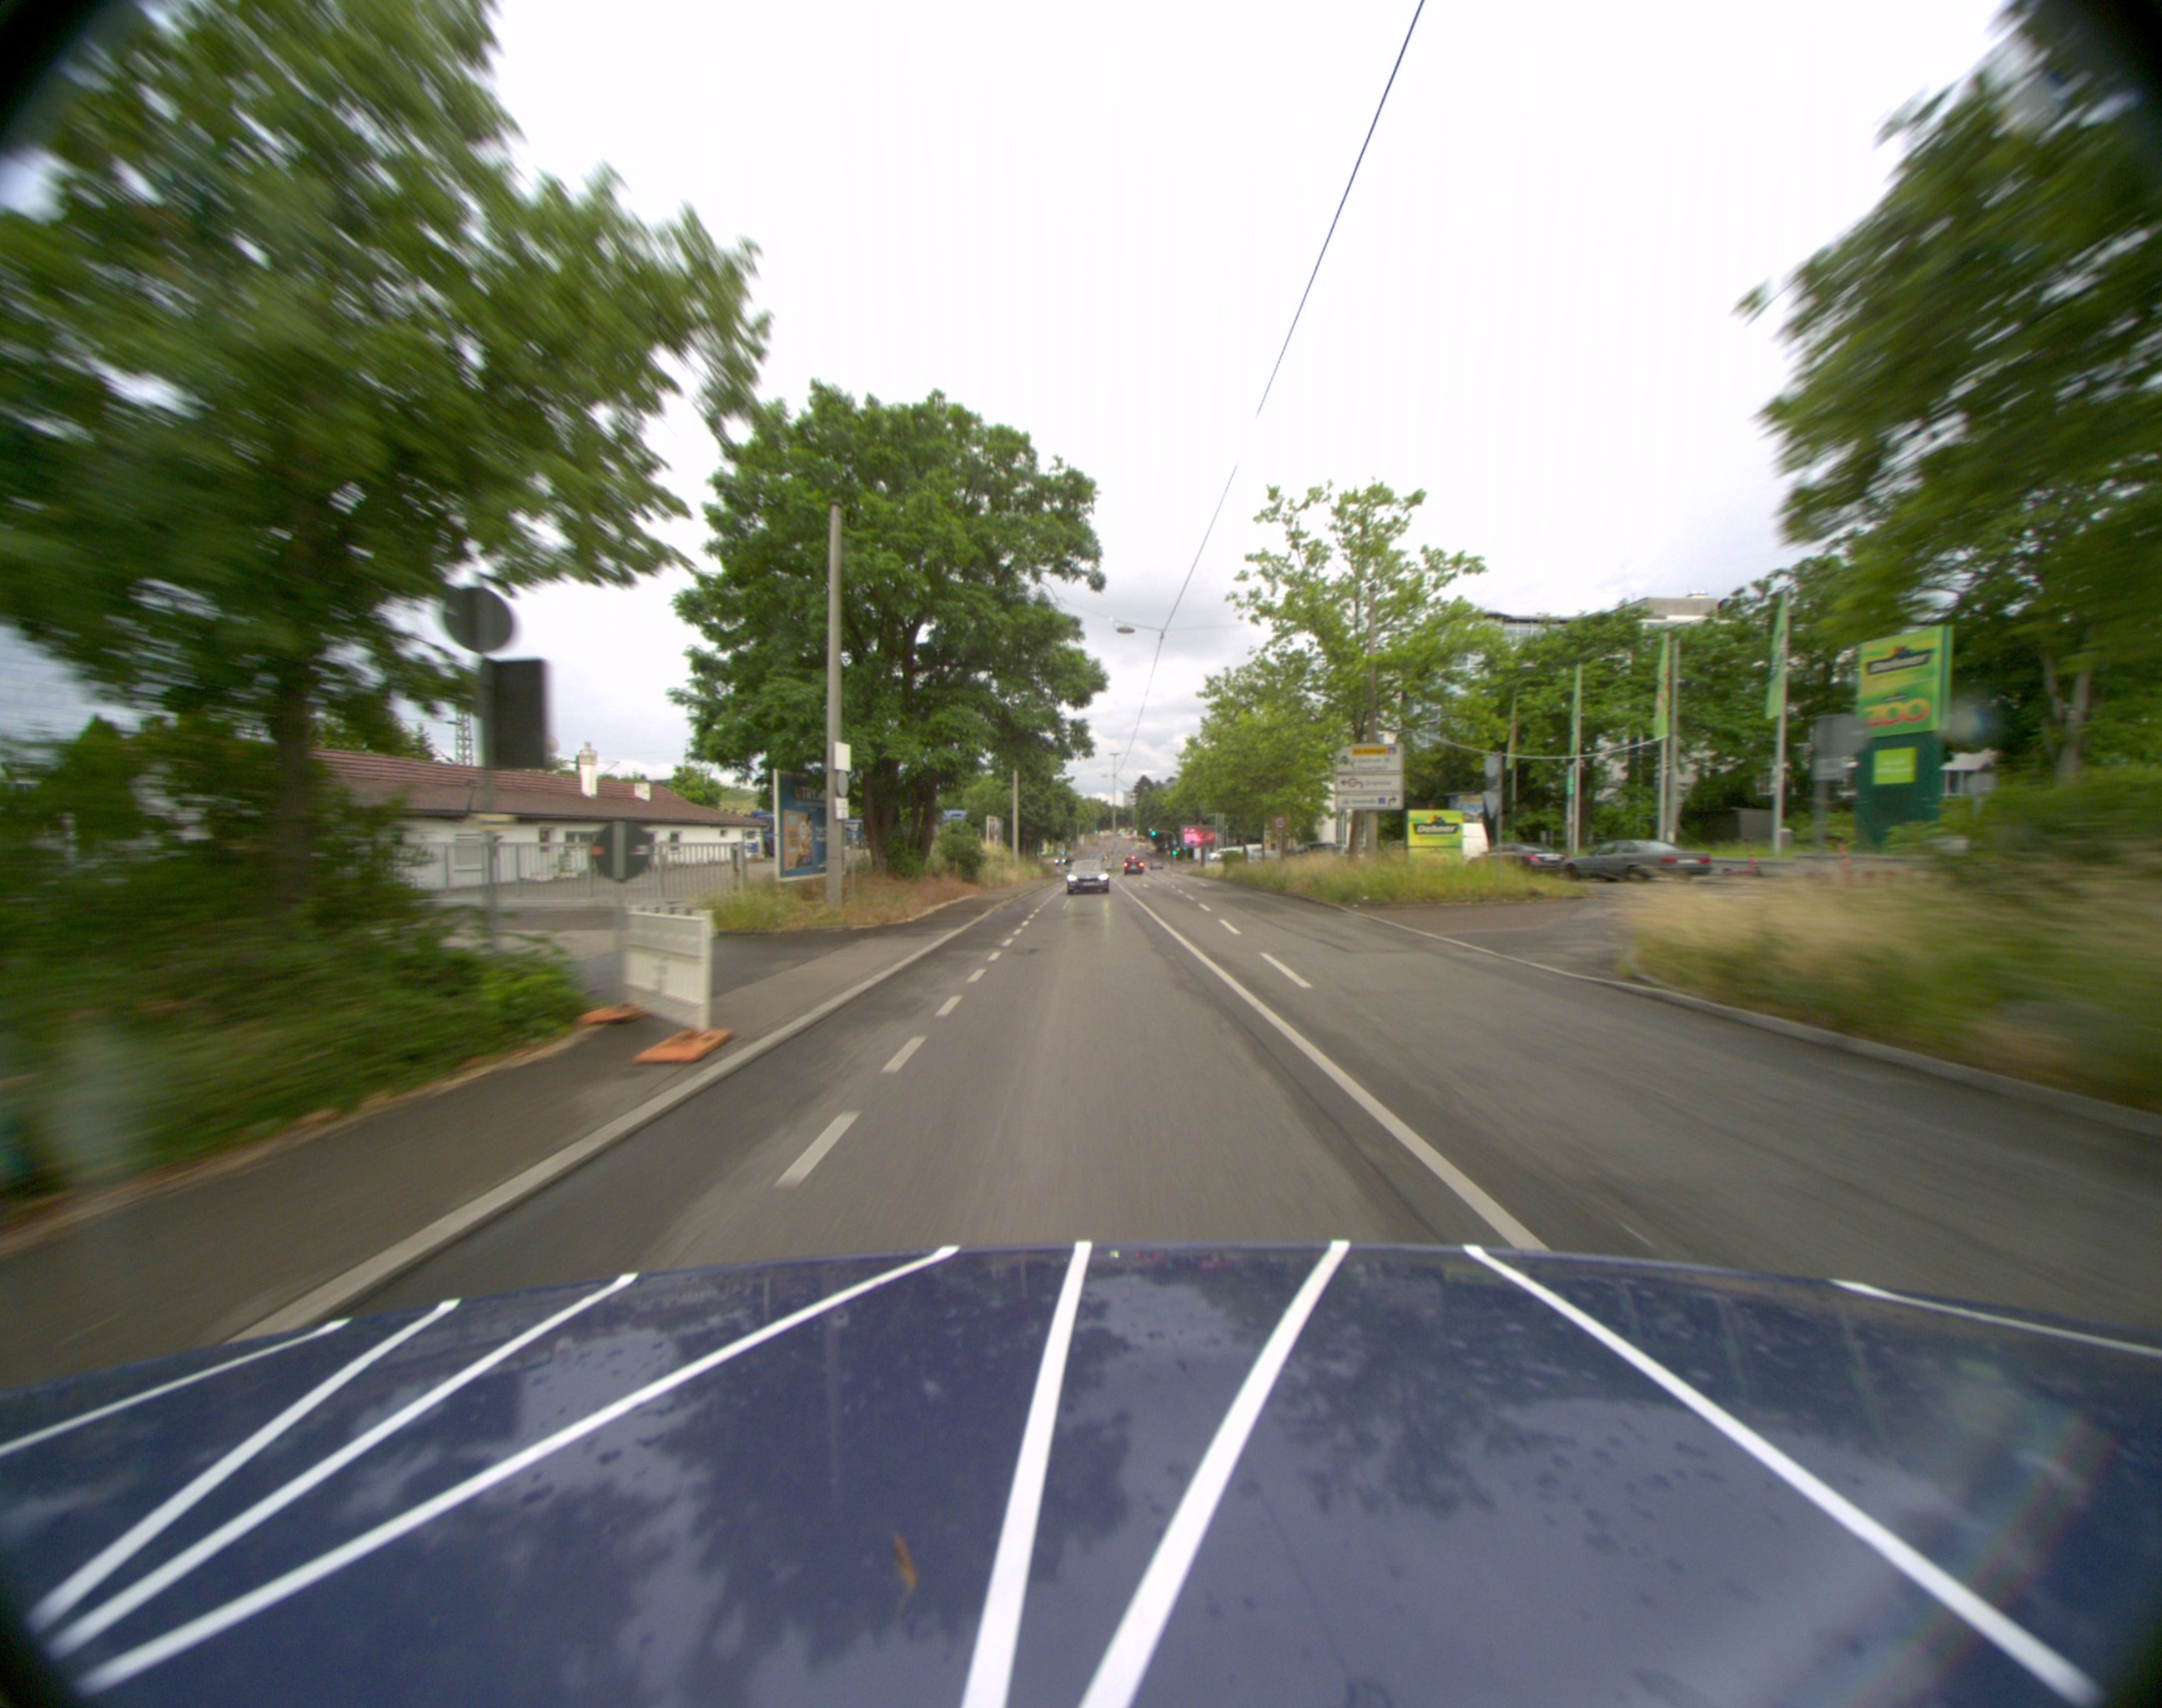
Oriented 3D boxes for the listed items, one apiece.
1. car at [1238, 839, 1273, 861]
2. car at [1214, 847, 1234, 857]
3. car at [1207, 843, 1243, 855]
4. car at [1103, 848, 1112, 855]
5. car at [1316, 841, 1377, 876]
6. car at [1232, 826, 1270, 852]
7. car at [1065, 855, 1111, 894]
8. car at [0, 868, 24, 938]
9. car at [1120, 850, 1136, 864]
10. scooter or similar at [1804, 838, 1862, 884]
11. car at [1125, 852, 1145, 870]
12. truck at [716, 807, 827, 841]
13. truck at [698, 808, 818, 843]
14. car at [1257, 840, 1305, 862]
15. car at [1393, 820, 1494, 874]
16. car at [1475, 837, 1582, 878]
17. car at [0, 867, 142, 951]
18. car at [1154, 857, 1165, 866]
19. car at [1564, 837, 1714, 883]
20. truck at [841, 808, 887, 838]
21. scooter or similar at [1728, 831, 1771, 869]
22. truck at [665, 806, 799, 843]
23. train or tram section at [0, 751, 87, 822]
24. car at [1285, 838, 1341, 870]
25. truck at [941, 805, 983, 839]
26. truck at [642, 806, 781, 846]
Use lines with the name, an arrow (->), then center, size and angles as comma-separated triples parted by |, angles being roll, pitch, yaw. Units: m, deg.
car -> 12.782, -0.264, 55.928 | 1.651, 1.469, 4.444 | 0, -1, 1
car -> 21.256, -0.320, 112.649 | 2.684, 1.416, 1.227 | -3, 2, 2
car -> 23.118, -0.759, 122.130 | 5.371, 1.792, 2.218 | 0, 2, -6
car -> 5.620, -0.602, 161.562 | 1.752, 1.362, 3.755 | -3, 2, 0
car -> 11.573, 0.162, 33.293 | 1.364, 1.387, 3.706 | 0, 2, 0
car -> 11.380, -0.977, 51.076 | 1.596, 1.531, 3.992 | 0, -1, -1
car -> 0.322, 0.867, 33.106 | 1.811, 1.509, 4.052 | -3, 0, 1
car -> -23.847, 1.101, 15.073 | 1.561, 1.468, 2.950 | 0, 2, 0
car -> 5.915, 0.388, 95.192 | 1.959, 1.687, 4.626 | 0, 0, 3
scooter or similar -> 21.405, 0.189, 21.662 | 0.496, 1.238, 1.130 | -1, 2, -1
car -> 5.703, 0.778, 80.886 | 2.019, 1.856, 5.042 | 0, 0, 2
truck -> -25.484, -2.453, 62.823 | 8.026, 2.723, 2.586 | 0, 2, -1
truck -> -25.000, -2.230, 59.029 | 8.112, 2.640, 2.586 | 0, 2, -1
car -> 11.343, -0.140, 43.281 | 1.702, 1.198, 4.219 | 0, 0, 1
car -> 17.450, -0.252, 36.929 | 1.968, 2.429, 5.655 | 0, -1, -3
car -> 17.458, 0.104, 29.839 | 1.848, 1.460, 3.668 | 0, 2, -4
car -> -21.691, 1.102, 15.422 | 1.418, 1.522, 3.016 | 0, 2, 1
car -> 11.495, 1.146, 111.478 | 1.380, 1.216, 2.452 | 0, 2, 1
car -> 17.871, 0.135, 24.606 | 1.405, 1.310, 4.275 | 0, 2, -5
truck -> -24.901, -3.534, 87.705 | 2.256, 3.178, 9.639 | -2, 2, 1
scooter or similar -> 21.255, -0.143, 24.176 | 0.399, 1.150, 0.922 | -7, 3, -9
truck -> -25.007, -2.122, 54.697 | 8.319, 2.602, 2.586 | 0, 2, -1
train or tram section -> -62.605, -3.753, 38.433 | 3.286, 3.800, 15.892 | -2, 1, 1
car -> 11.538, -0.026, 37.967 | 1.658, 1.444, 3.644 | 0, 2, 0
truck -> -10.457, -2.796, 67.290 | 2.290, 2.635, 6.051 | -6, 2, 1
truck -> -24.940, -1.918, 51.551 | 8.022, 2.603, 2.630 | 0, 2, -1
